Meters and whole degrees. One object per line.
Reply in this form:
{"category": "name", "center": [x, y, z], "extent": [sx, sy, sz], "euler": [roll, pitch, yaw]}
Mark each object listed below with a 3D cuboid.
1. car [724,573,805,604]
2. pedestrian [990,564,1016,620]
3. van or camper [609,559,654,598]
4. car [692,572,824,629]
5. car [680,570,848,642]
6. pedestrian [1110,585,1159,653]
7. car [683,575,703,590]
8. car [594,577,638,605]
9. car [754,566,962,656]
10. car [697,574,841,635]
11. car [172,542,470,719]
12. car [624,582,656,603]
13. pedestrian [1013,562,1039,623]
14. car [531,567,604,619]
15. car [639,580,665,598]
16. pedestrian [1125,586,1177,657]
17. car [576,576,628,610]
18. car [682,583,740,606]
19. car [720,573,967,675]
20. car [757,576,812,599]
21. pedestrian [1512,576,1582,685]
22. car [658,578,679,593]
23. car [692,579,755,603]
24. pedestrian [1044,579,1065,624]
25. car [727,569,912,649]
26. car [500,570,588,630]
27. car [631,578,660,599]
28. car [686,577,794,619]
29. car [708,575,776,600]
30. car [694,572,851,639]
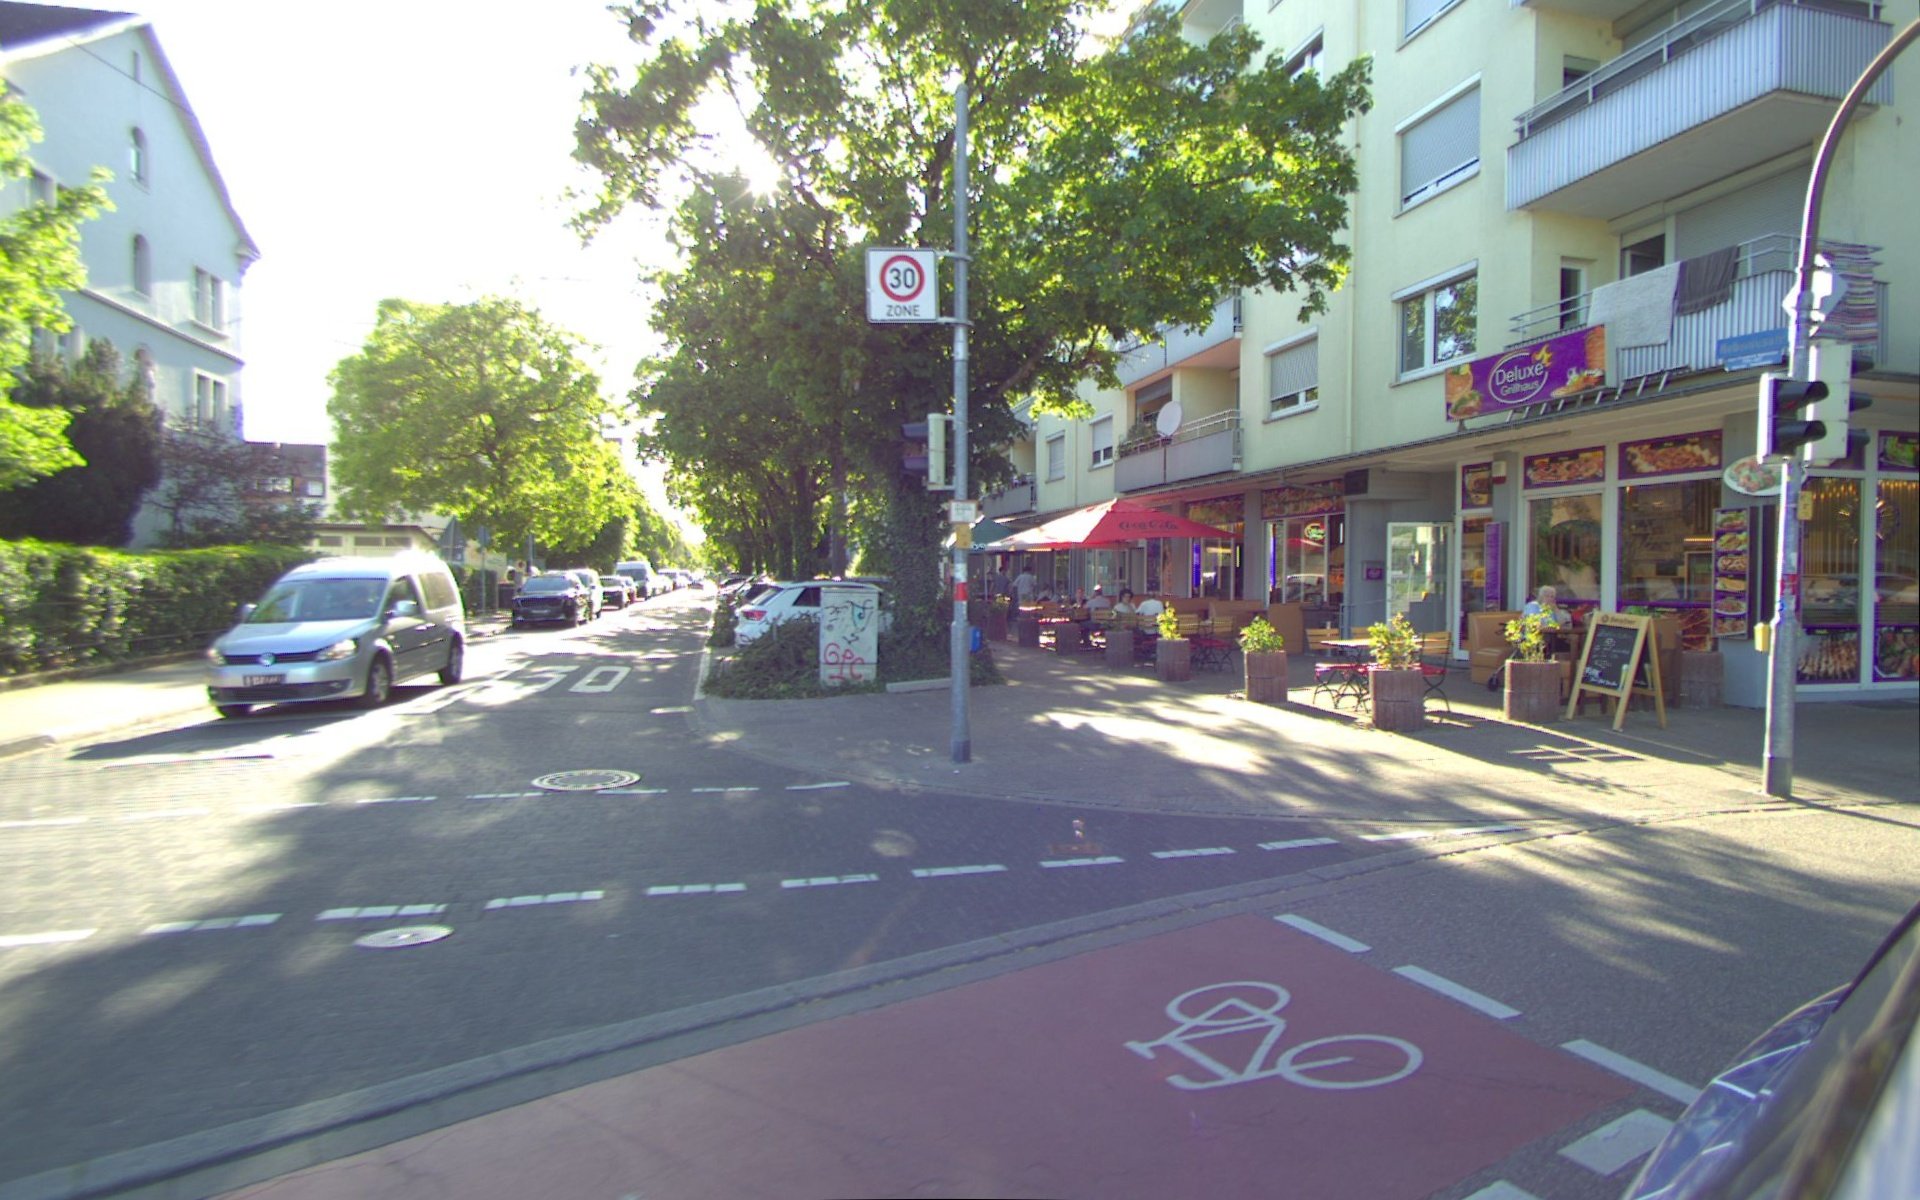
{"category": "car", "center": [-9.763, -0.592, 50.519], "extent": [3.790, 1.499, 1.720], "euler": [0, 1, -17]}
{"category": "pedestrian", "center": [1.335, -0.251, 31.700], "extent": [0.708, 1.730, 0.540], "euler": [0, 1, -9]}
{"category": "van or camper", "center": [-20.639, -1.354, 63.808], "extent": [2.322, 2.367, 5.025], "euler": [0, 1, -13]}
{"category": "car", "center": [-6.134, -0.023, 30.658], "extent": [3.790, 1.638, 1.720], "euler": [0, 1, -17]}
{"category": "car", "center": [-4.711, 0.104, 24.205], "extent": [3.790, 1.638, 1.720], "euler": [0, 1, -17]}
{"category": "pedestrian", "center": [3.260, 0.340, 18.957], "extent": [0.647, 1.234, 0.742], "euler": [0, 1, -15]}
{"category": "car", "center": [-27.872, -1.882, 105.783], "extent": [1.958, 1.549, 4.009], "euler": [0, 1, -13]}
{"category": "car", "center": [-19.481, -0.552, 57.453], "extent": [1.958, 1.549, 4.009], "euler": [0, 1, -13]}
{"category": "car", "center": [-2.032, 0.171, 19.893], "extent": [3.822, 1.638, 1.720], "euler": [0, 1, -17]}
{"category": "car", "center": [-5.379, 0.088, 28.420], "extent": [3.790, 1.638, 1.720], "euler": [0, 1, -17]}
{"category": "car", "center": [-7.973, 0.269, 13.147], "extent": [1.769, 1.835, 4.198], "euler": [-3, 2, -11]}
{"category": "car", "center": [-23.757, -0.581, 75.276], "extent": [1.958, 1.549, 4.009], "euler": [0, 1, -13]}
{"category": "pedestrian", "center": [2.006, -0.243, 30.817], "extent": [0.660, 1.834, 0.540], "euler": [0, 1, -9]}
{"category": "car", "center": [-14.502, -0.300, 37.633], "extent": [1.958, 1.838, 4.337], "euler": [0, 1, -13]}
{"category": "car", "center": [-26.718, -0.969, 87.893], "extent": [1.958, 1.549, 4.009], "euler": [0, 1, -13]}
{"category": "pedestrian", "center": [3.377, 0.366, 17.961], "extent": [0.647, 1.234, 0.742], "euler": [0, 1, -15]}
{"category": "car", "center": [-17.127, -0.363, 48.559], "extent": [1.958, 1.549, 4.009], "euler": [0, 1, -13]}
{"category": "car", "center": [-17.027, -0.401, 69.246], "extent": [3.790, 1.499, 1.720], "euler": [0, 1, -17]}
{"category": "car", "center": [-2.025, 0.346, 17.355], "extent": [3.951, 1.601, 1.714], "euler": [0, 1, -17]}
{"category": "car", "center": [-12.919, -0.932, 74.559], "extent": [3.790, 1.609, 1.720], "euler": [0, 1, -17]}
{"category": "pedestrian", "center": [7.529, 0.374, 12.996], "extent": [0.594, 1.358, 0.495], "euler": [0, 1, -13]}
{"category": "car", "center": [-30.957, -1.601, 107.486], "extent": [1.958, 1.549, 4.009], "euler": [0, 1, -13]}
{"category": "car", "center": [-14.893, -0.569, 63.683], "extent": [3.790, 1.499, 1.720], "euler": [0, 1, -17]}
{"category": "pedestrian", "center": [2.939, 0.049, 31.538], "extent": [0.560, 1.377, 0.674], "euler": [0, 1, -2]}
{"category": "car", "center": [-3.099, 0.161, 22.156], "extent": [3.790, 1.638, 1.720], "euler": [0, 1, -17]}
{"category": "car", "center": [-13.009, -0.061, 31.853], "extent": [1.958, 1.749, 4.009], "euler": [0, 1, -13]}
{"category": "car", "center": [-24.960, -0.939, 80.516], "extent": [1.958, 1.549, 4.009], "euler": [0, 1, -13]}
{"category": "car", "center": [-8.185, -0.085, 37.519], "extent": [3.790, 1.499, 1.720], "euler": [0, 1, -17]}
{"category": "car", "center": [-12.945, -0.752, 59.984], "extent": [3.790, 1.499, 1.720], "euler": [0, 1, -17]}
{"category": "car", "center": [-4.839, 0.104, 26.034], "extent": [3.790, 1.638, 1.720], "euler": [0, 1, -17]}
